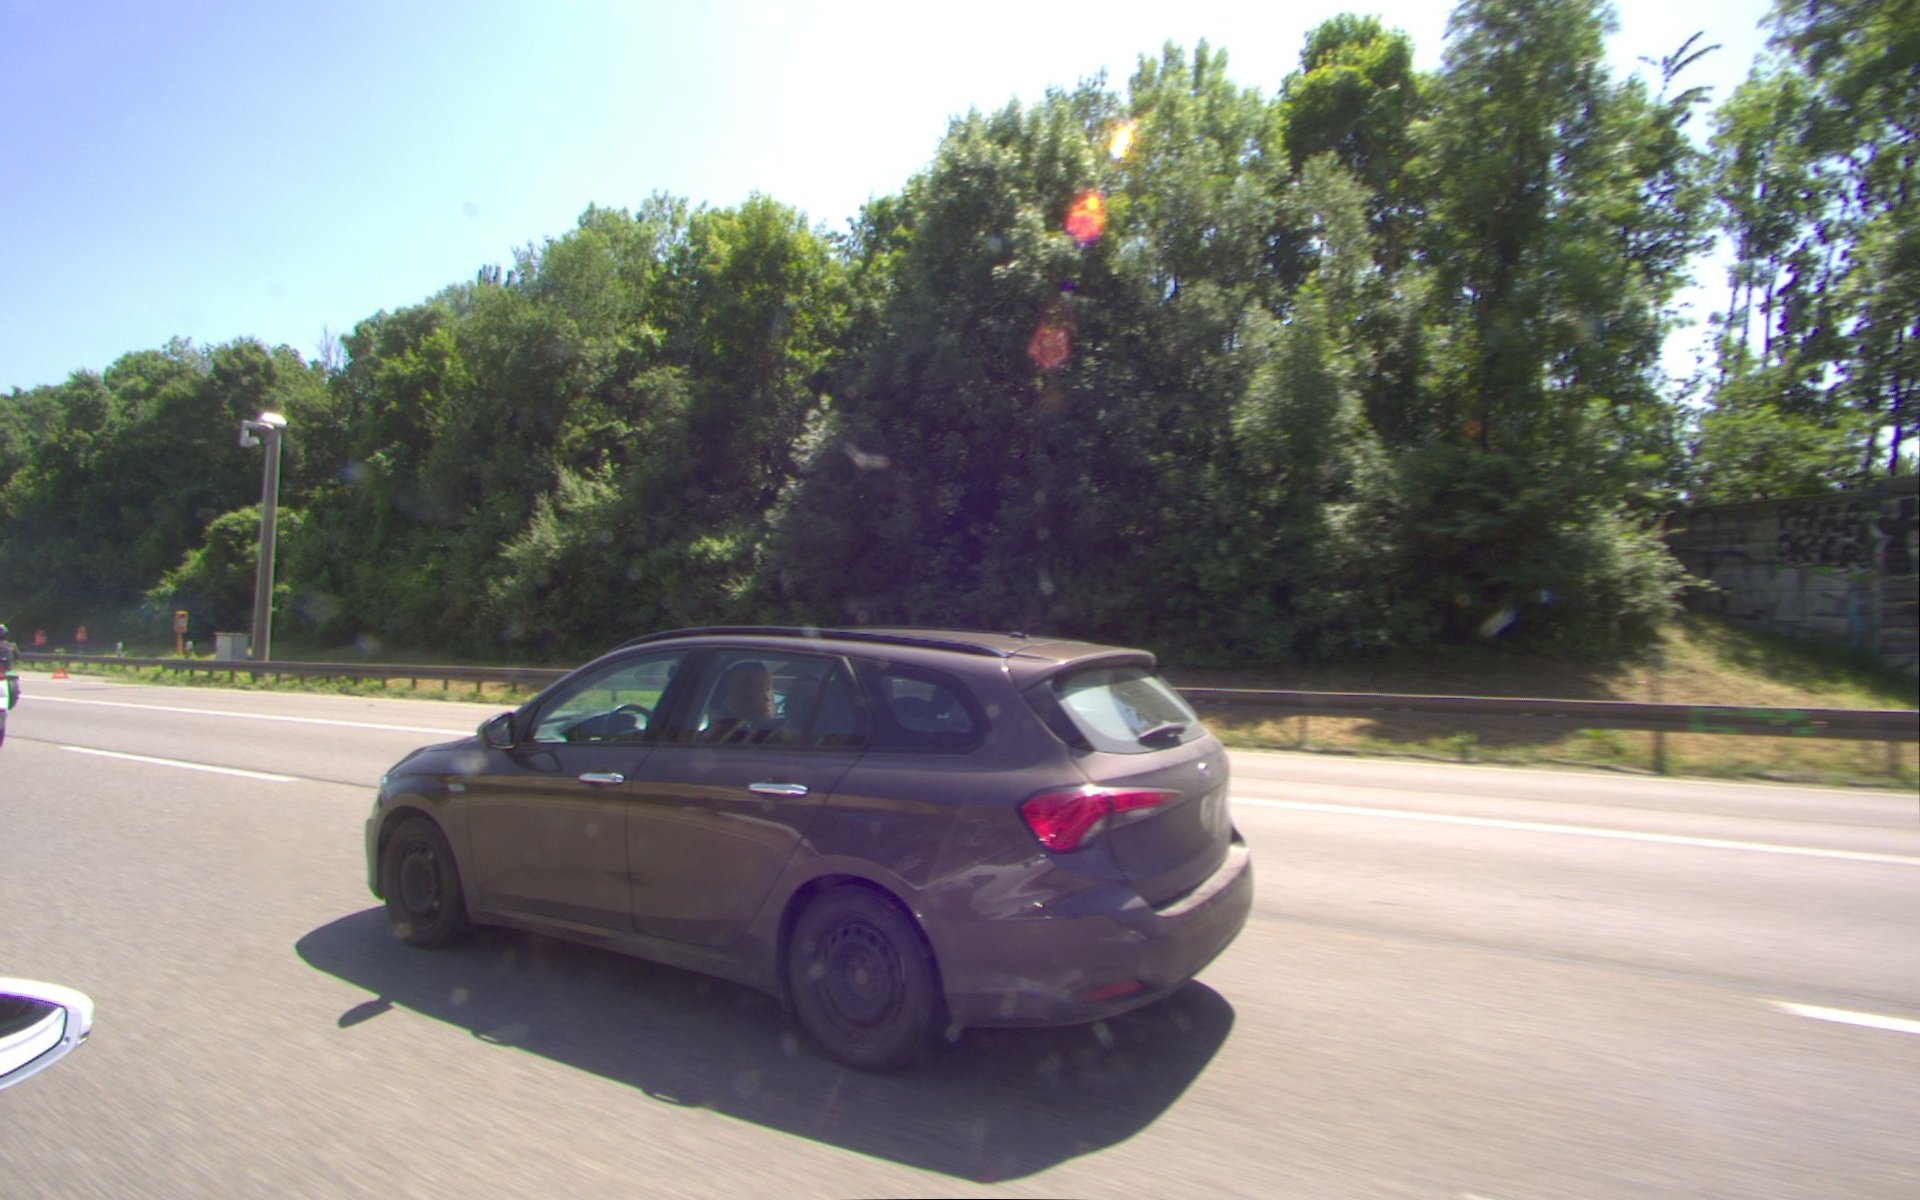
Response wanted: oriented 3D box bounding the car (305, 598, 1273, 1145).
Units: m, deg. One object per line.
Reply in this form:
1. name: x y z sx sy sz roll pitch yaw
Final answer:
1. car: -0.950 0.804 4.724 4.336 1.532 1.837 0 -2 31

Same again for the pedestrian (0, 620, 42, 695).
1. pedestrian: -19.346 1.166 20.369 0.630 1.497 0.849 0 -1 36

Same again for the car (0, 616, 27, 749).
1. car: -13.672 1.021 12.586 3.822 1.629 1.869 -1 -2 31

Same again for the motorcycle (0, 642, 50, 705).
1. motorcycle: -19.462 1.476 20.449 2.247 1.197 0.857 0 -2 37
